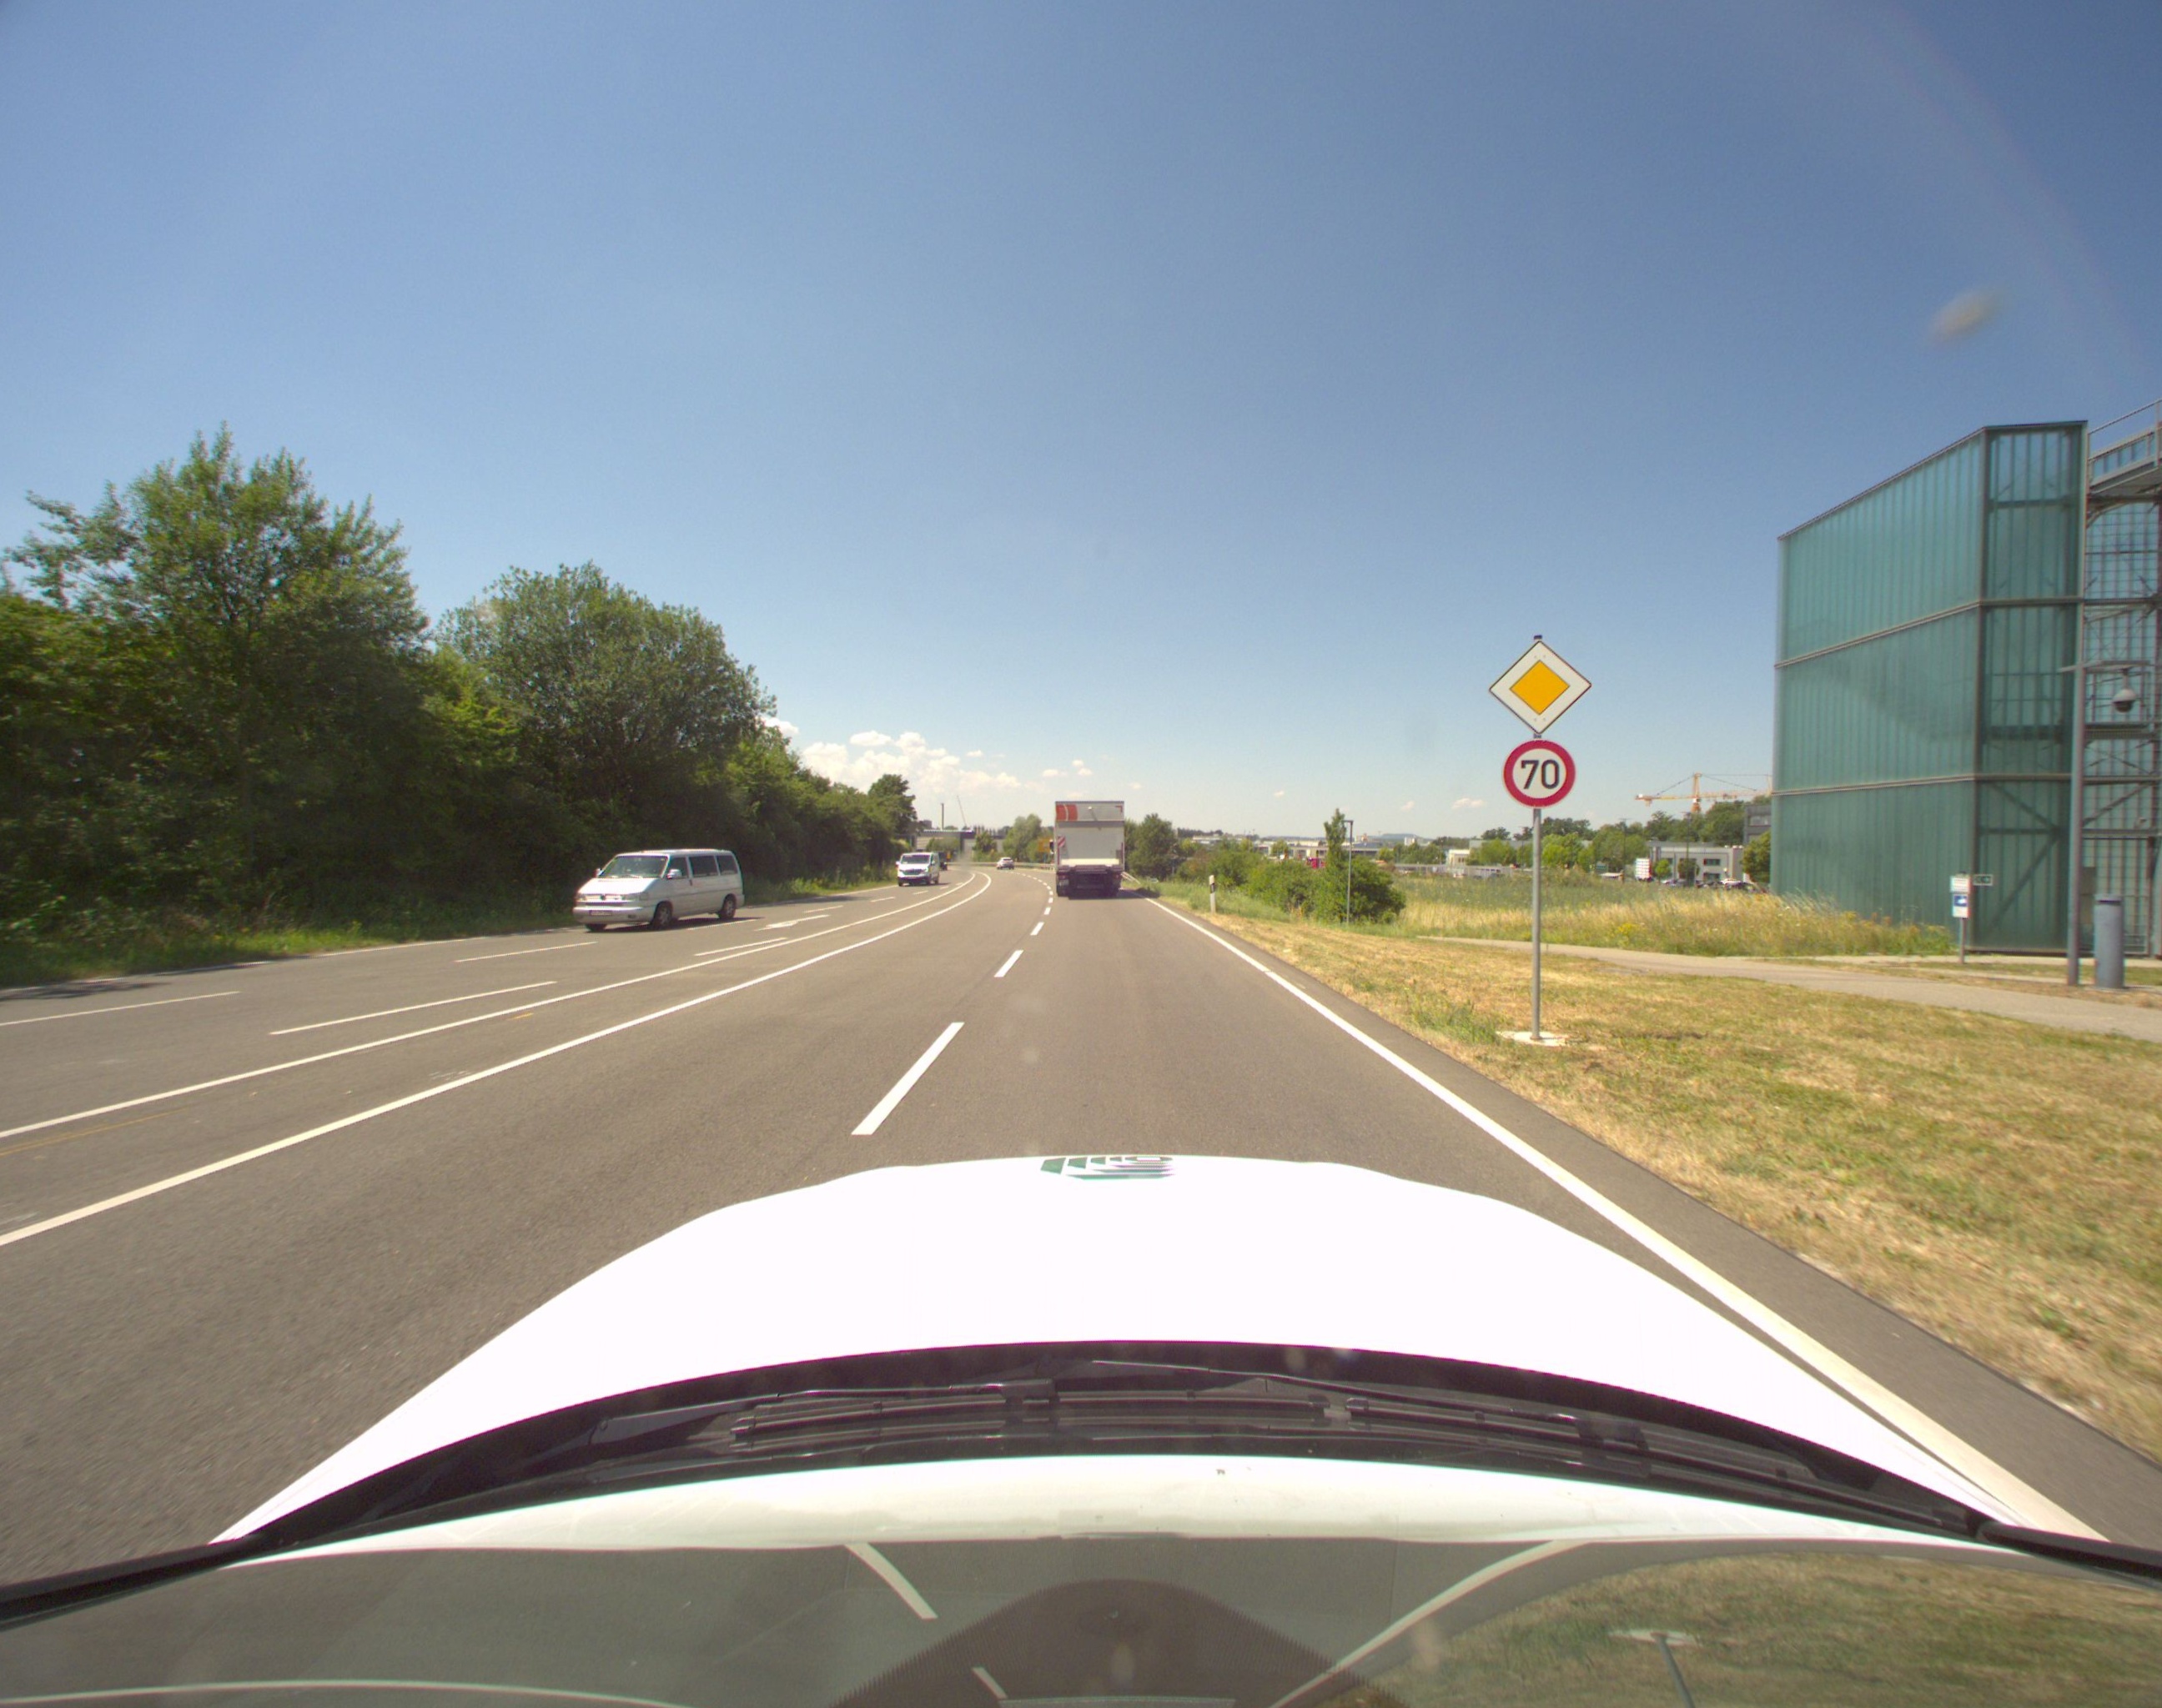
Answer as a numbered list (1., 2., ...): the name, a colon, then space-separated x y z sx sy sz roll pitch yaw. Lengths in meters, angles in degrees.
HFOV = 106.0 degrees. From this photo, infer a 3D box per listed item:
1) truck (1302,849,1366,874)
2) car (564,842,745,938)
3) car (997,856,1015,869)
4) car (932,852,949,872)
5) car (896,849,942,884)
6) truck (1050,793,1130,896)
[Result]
1. truck: 40.521 1.146 130.435 9.300 3.684 3.151 2 2 29
2. car: -10.426 0.756 20.429 1.967 2.013 4.840 1 2 0
3. car: -9.642 1.101 104.445 1.945 1.664 3.984 1 -1 -11
4. car: -19.099 1.045 110.870 2.188 2.541 6.016 -1 0 -10
5. car: -9.769 0.709 49.600 2.073 2.013 5.797 -1 0 -5
6. truck: 0.155 -0.389 34.157 2.797 3.710 9.099 -1 0 -3
